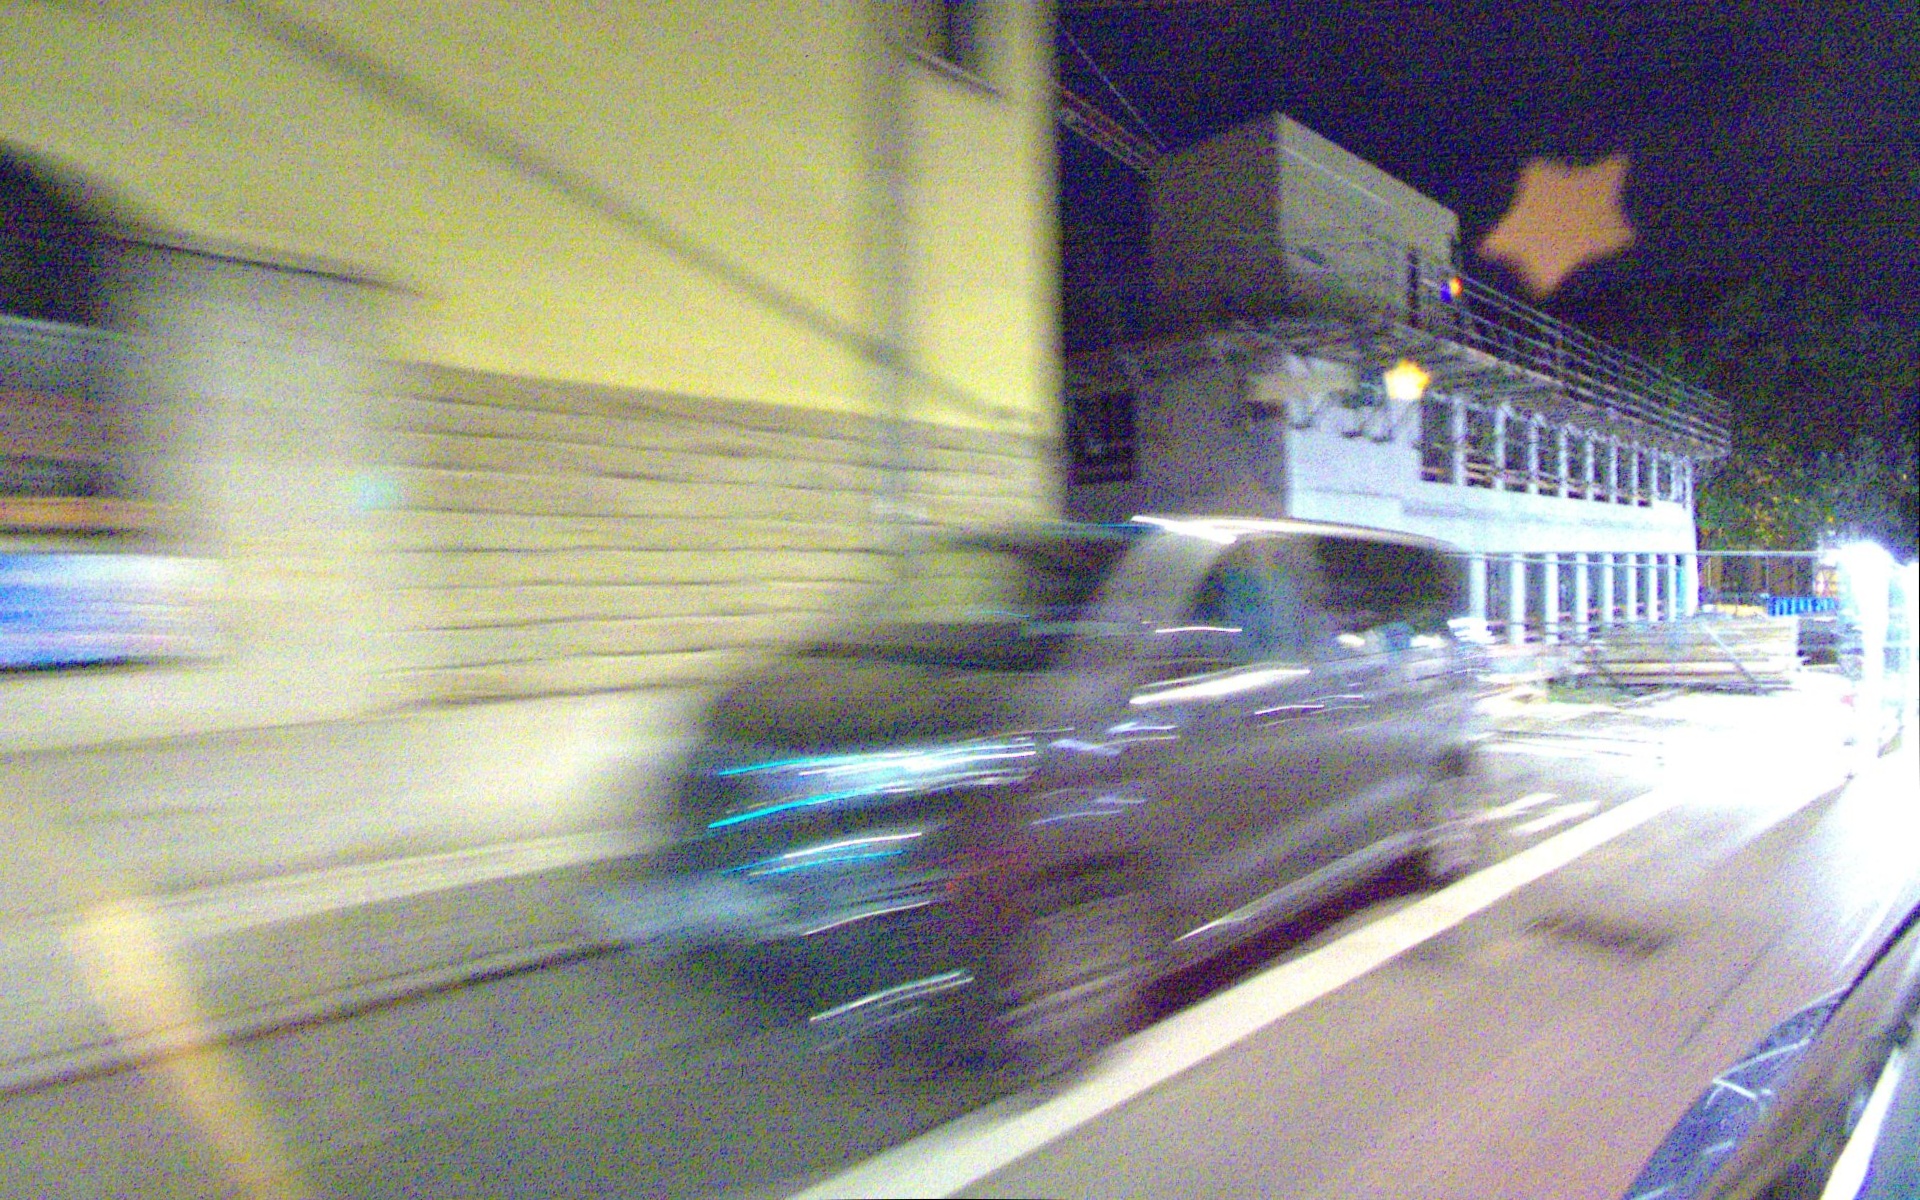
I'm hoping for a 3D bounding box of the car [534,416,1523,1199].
[{"bbox_3d":[0.821,0.494,4.693,1.911,1.850,4.821,0,0,45],"label":"car"}]
